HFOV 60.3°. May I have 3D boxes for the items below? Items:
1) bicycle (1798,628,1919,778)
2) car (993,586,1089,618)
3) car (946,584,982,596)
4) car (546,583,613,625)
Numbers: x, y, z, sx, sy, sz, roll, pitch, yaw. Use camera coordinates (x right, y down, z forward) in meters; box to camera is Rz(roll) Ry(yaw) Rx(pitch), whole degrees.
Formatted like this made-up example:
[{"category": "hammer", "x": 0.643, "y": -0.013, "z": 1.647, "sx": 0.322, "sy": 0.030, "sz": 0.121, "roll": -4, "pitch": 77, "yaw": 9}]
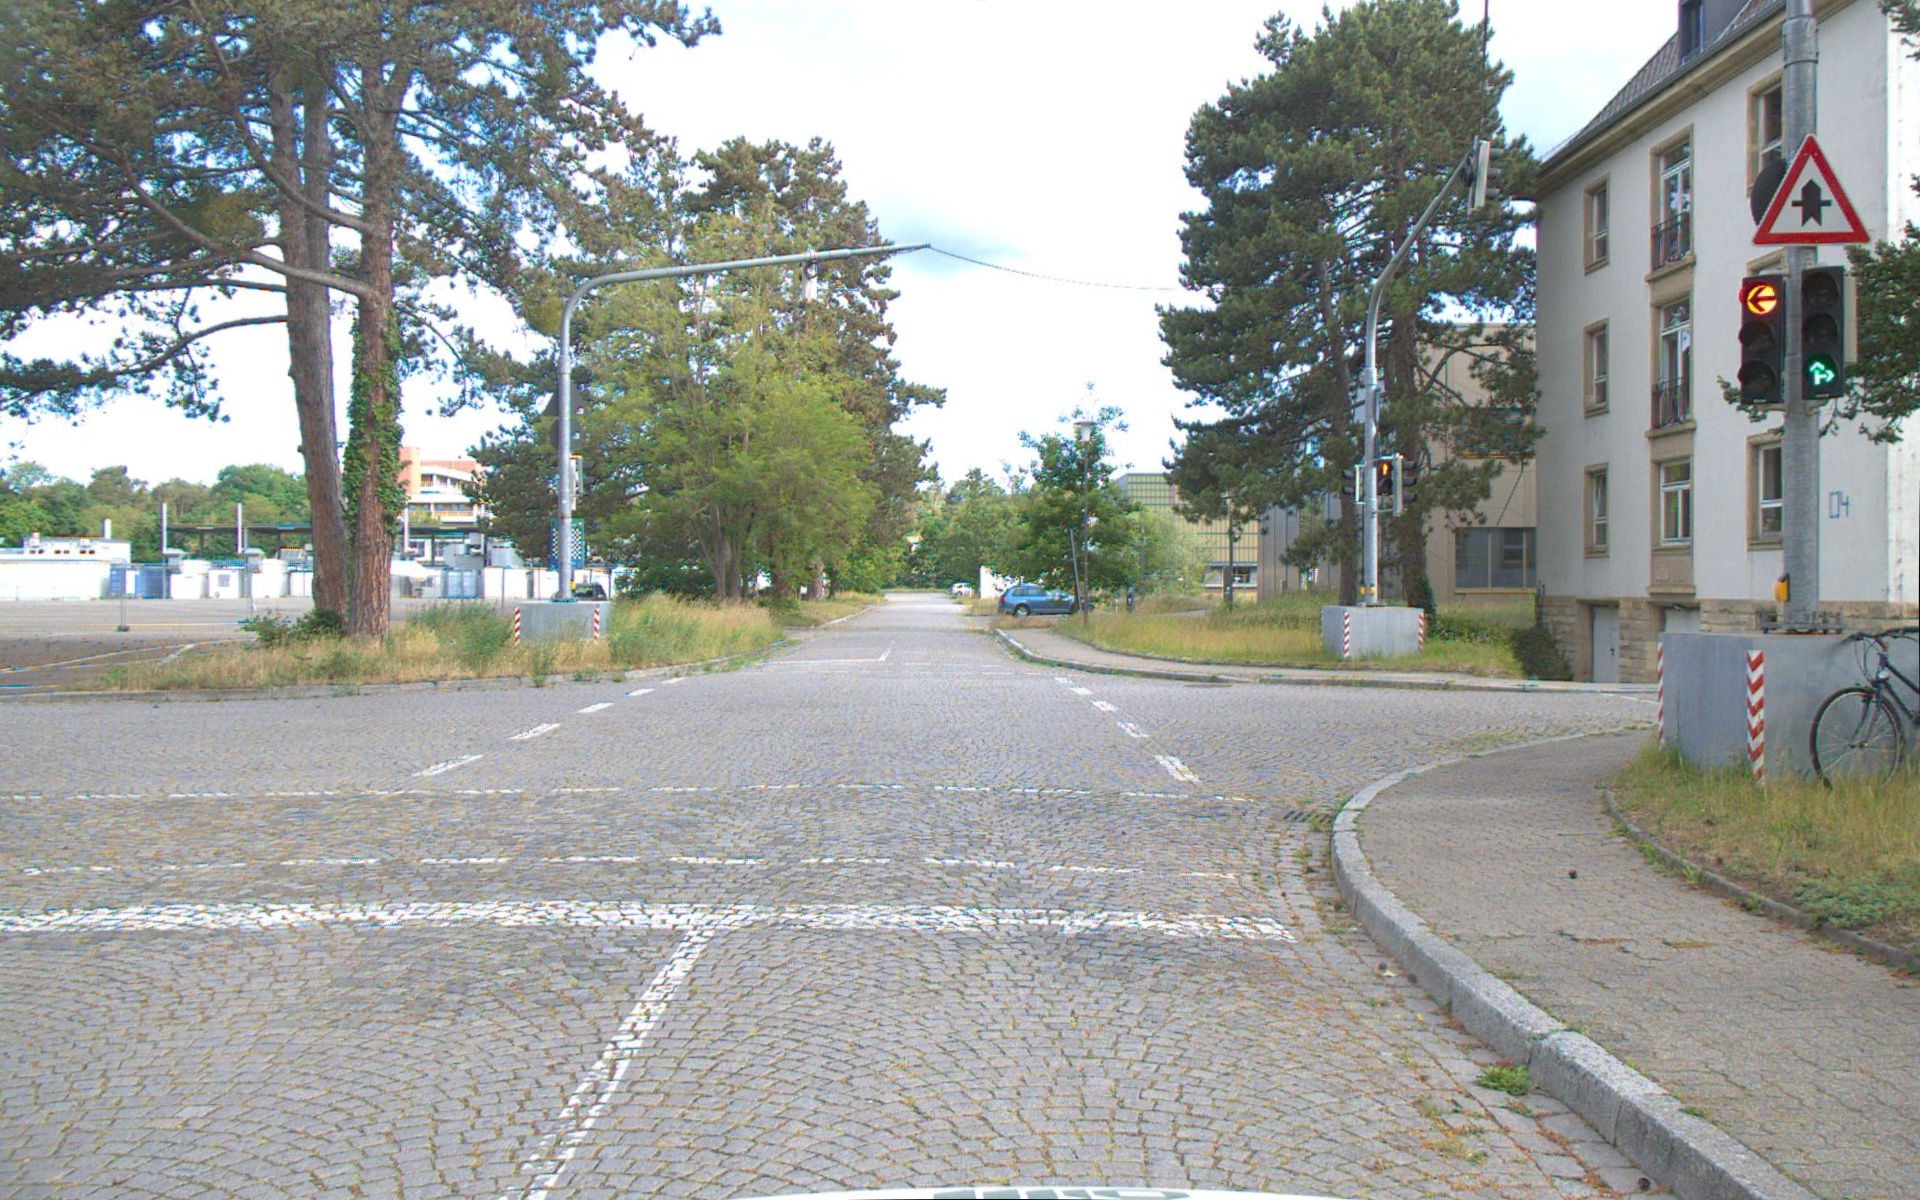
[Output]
[{"category": "bicycle", "x": 6.198, "y": 0.627, "z": 10.311, "sx": 1.665, "sy": 0.889, "sz": 0.573, "roll": 0, "pitch": 0, "yaw": -1}, {"category": "car", "x": 3.711, "y": 0.067, "z": 76.202, "sx": 4.258, "sy": 1.447, "sz": 1.999, "roll": 0, "pitch": 1, "yaw": -4}, {"category": "car", "x": 0.465, "y": -1.182, "z": 193.211, "sx": 3.911, "sy": 1.422, "sz": 1.997, "roll": 0, "pitch": 1, "yaw": -7}, {"category": "car", "x": -13.963, "y": 0.125, "z": 60.856, "sx": 1.580, "sy": 1.513, "sz": 3.999, "roll": 0, "pitch": 1, "yaw": -1}]
